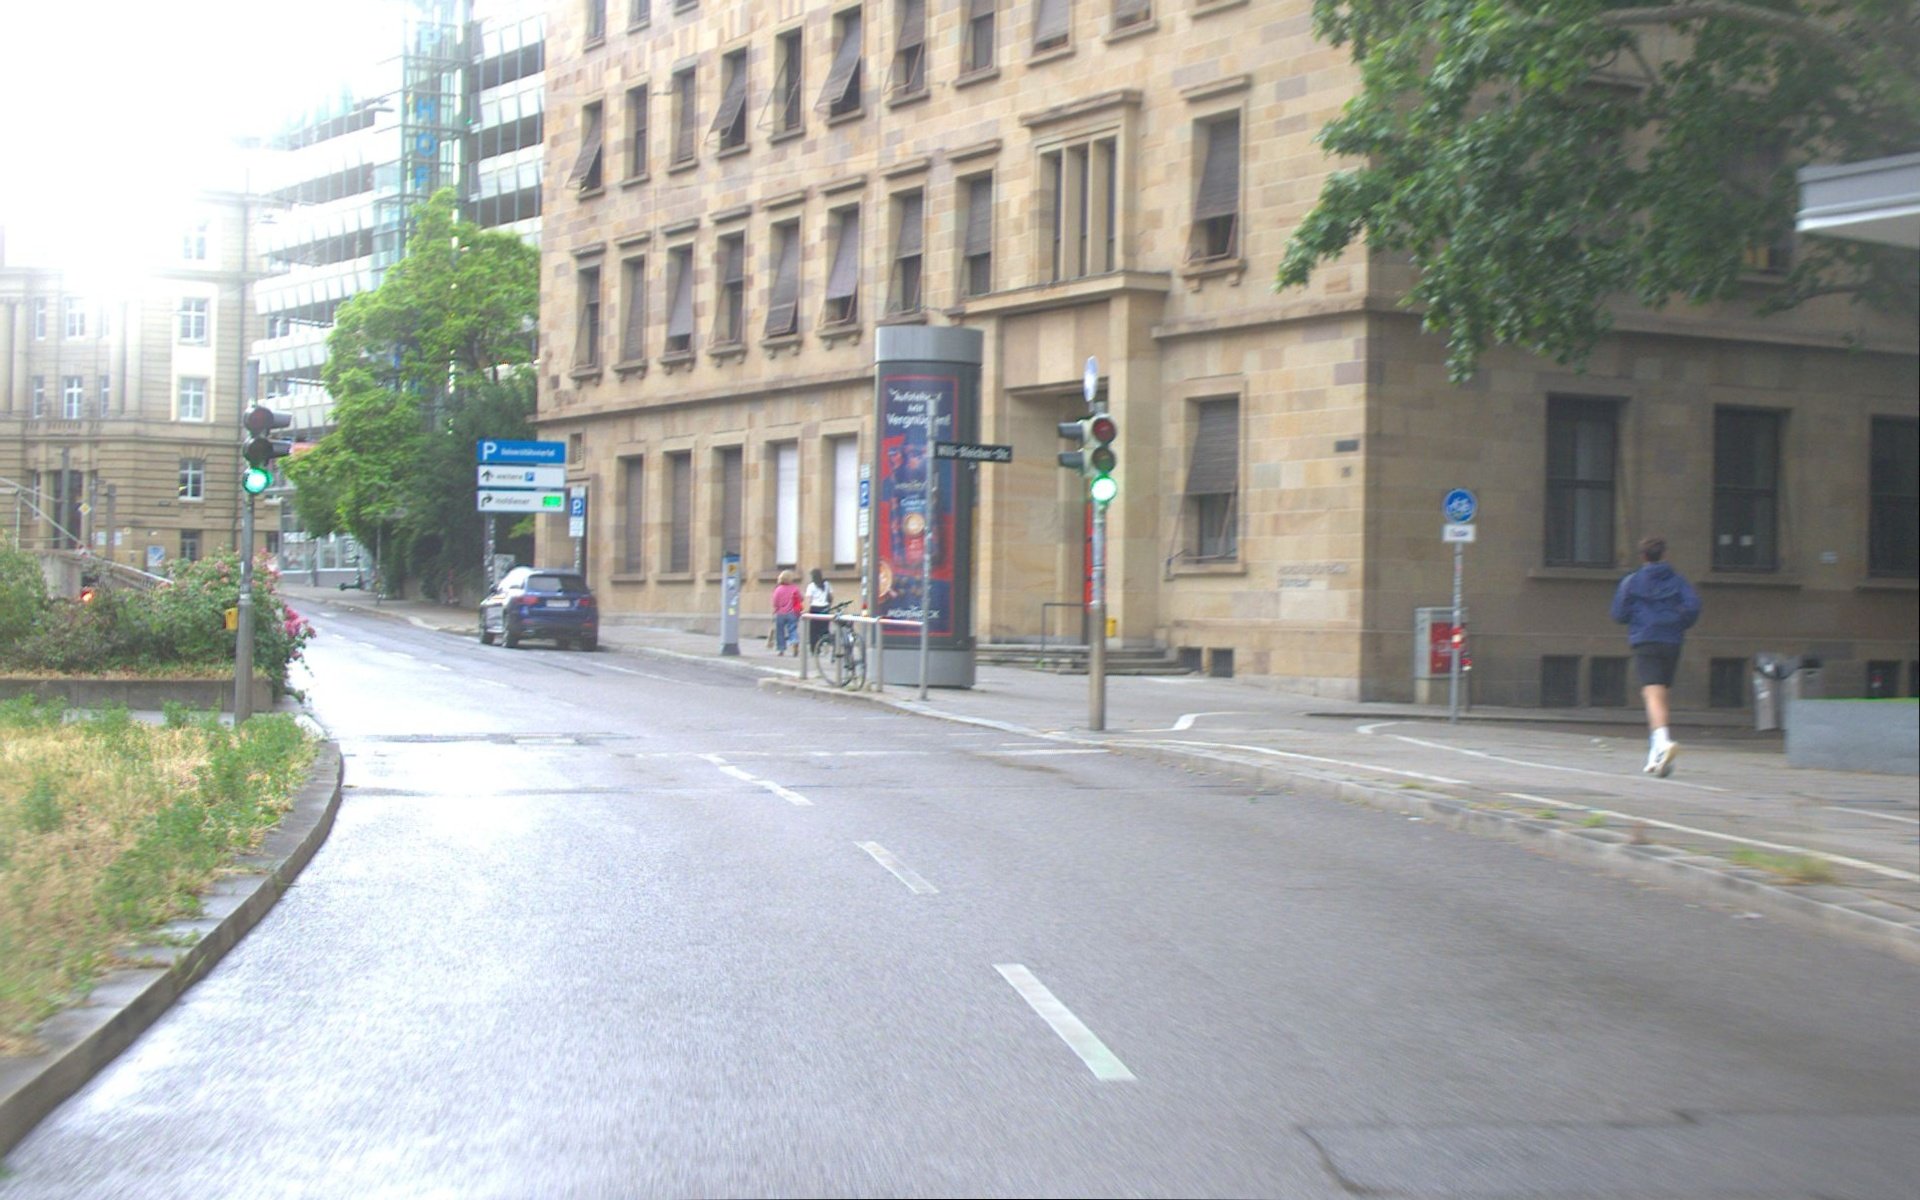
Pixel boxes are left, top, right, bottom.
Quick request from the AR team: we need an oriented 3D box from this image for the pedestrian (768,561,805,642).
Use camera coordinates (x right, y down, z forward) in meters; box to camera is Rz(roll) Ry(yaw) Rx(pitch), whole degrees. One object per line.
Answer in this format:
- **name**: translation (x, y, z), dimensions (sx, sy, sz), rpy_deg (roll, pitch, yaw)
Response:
- **pedestrian**: translation (-3.205, 0.028, 63.583), dimensions (0.524, 1.487, 0.674), rpy_deg (2, 0, -14)

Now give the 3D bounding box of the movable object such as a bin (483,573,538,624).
- **movable object such as a bin**: translation (-11.651, -0.045, 89.071), dimensions (1.239, 1.305, 1.234), rpy_deg (0, 1, -15)

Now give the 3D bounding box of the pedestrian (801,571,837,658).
- **pedestrian**: translation (-2.621, 0.263, 63.876), dimensions (0.524, 1.597, 0.674), rpy_deg (2, 0, -13)

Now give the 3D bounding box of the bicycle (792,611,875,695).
- **bicycle**: translation (-1.608, 0.660, 43.470), dimensions (0.489, 1.009, 1.928), rpy_deg (2, 0, -18)

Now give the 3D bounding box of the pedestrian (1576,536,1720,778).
- **pedestrian**: translation (5.156, 0.416, 25.813), dimensions (0.779, 1.766, 0.863), rpy_deg (2, 0, -7)

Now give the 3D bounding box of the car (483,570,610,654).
- **car**: translation (-8.504, 0.223, 70.441), dimensions (1.767, 1.614, 4.159), rpy_deg (2, 0, -18)
